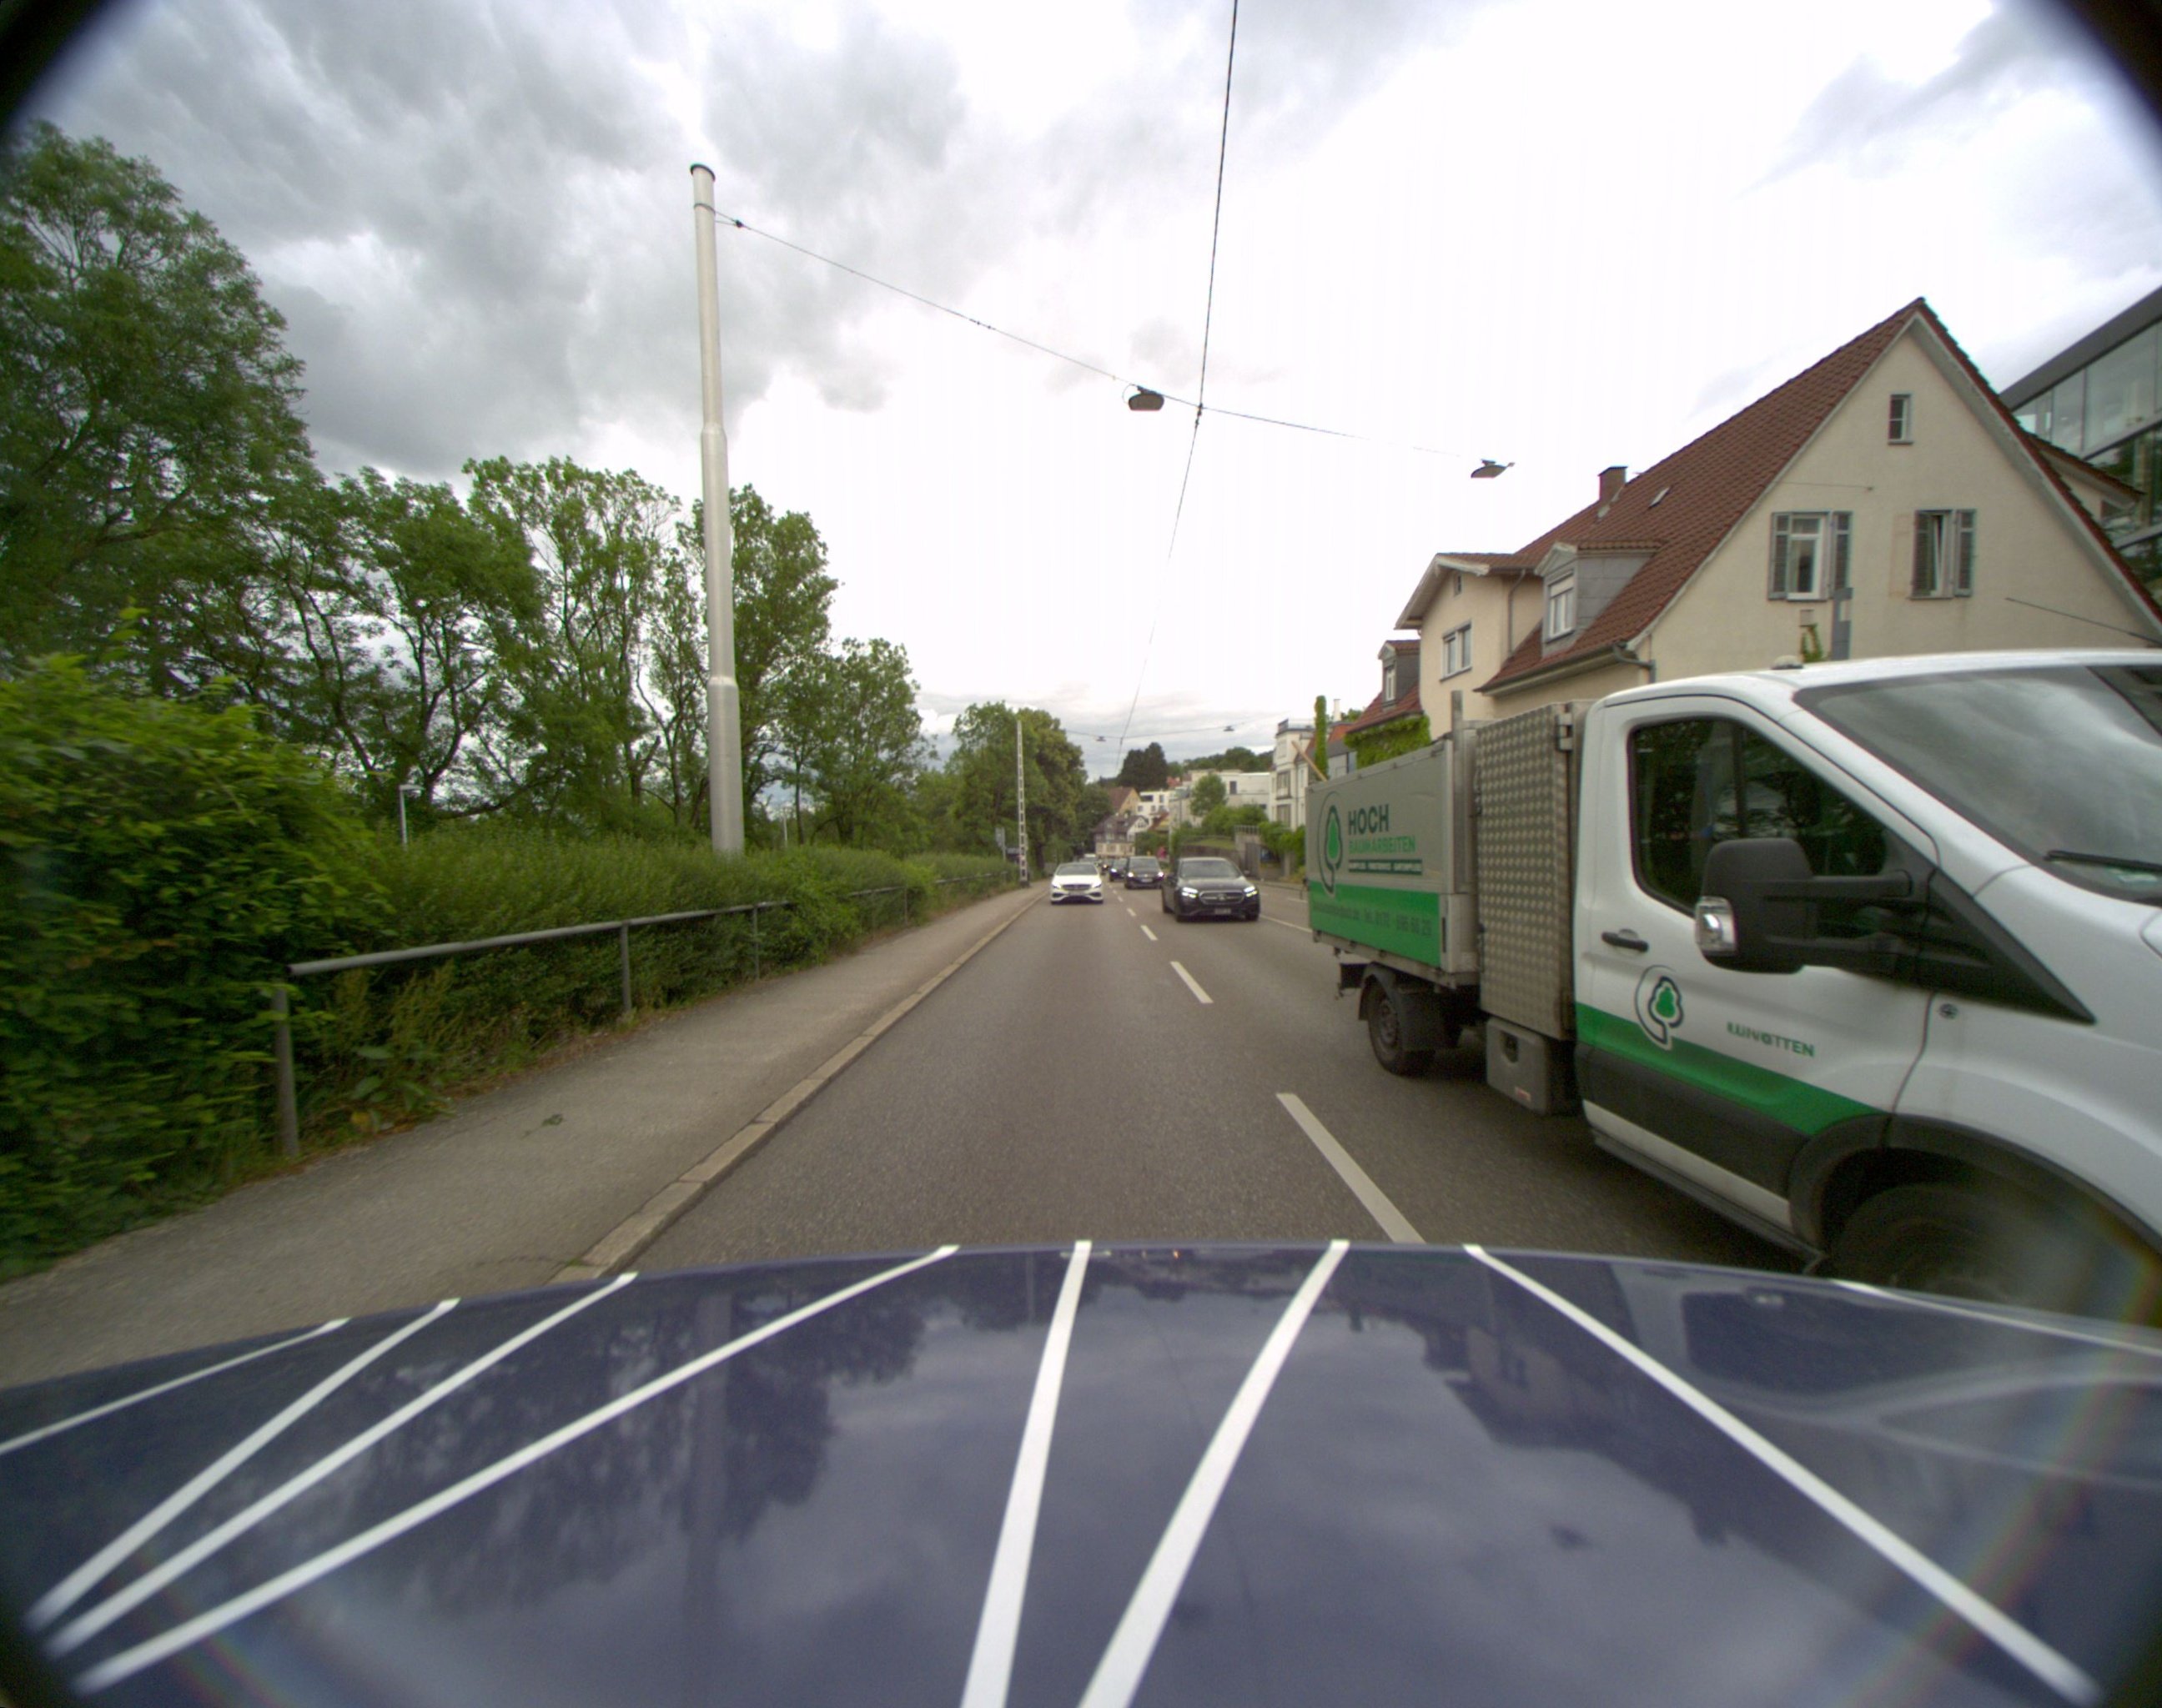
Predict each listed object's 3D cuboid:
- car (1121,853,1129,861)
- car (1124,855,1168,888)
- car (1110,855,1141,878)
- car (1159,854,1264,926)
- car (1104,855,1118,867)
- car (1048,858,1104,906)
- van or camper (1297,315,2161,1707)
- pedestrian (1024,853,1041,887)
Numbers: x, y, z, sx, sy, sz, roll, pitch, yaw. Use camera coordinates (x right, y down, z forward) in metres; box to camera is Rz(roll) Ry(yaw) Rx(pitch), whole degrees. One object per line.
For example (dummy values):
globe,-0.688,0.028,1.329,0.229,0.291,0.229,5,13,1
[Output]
car,10.190,0.722,176.859,1.709,1.702,3.868,-1,0,1
car,3.201,0.834,37.977,1.878,1.521,4.000,-1,0,1
car,3.012,0.842,52.230,1.878,1.521,4.000,-1,0,1
car,3.055,0.783,18.716,1.878,1.521,4.335,-1,0,1
car,3.777,0.880,95.881,1.680,1.426,3.713,-1,1,2
car,-0.135,0.935,27.009,1.809,1.521,4.000,-1,0,1
van or camper,3.035,0.298,3.358,2.349,2.647,5.962,-2,2,0
pedestrian,-2.693,0.872,42.249,0.814,1.873,0.949,0,0,5
